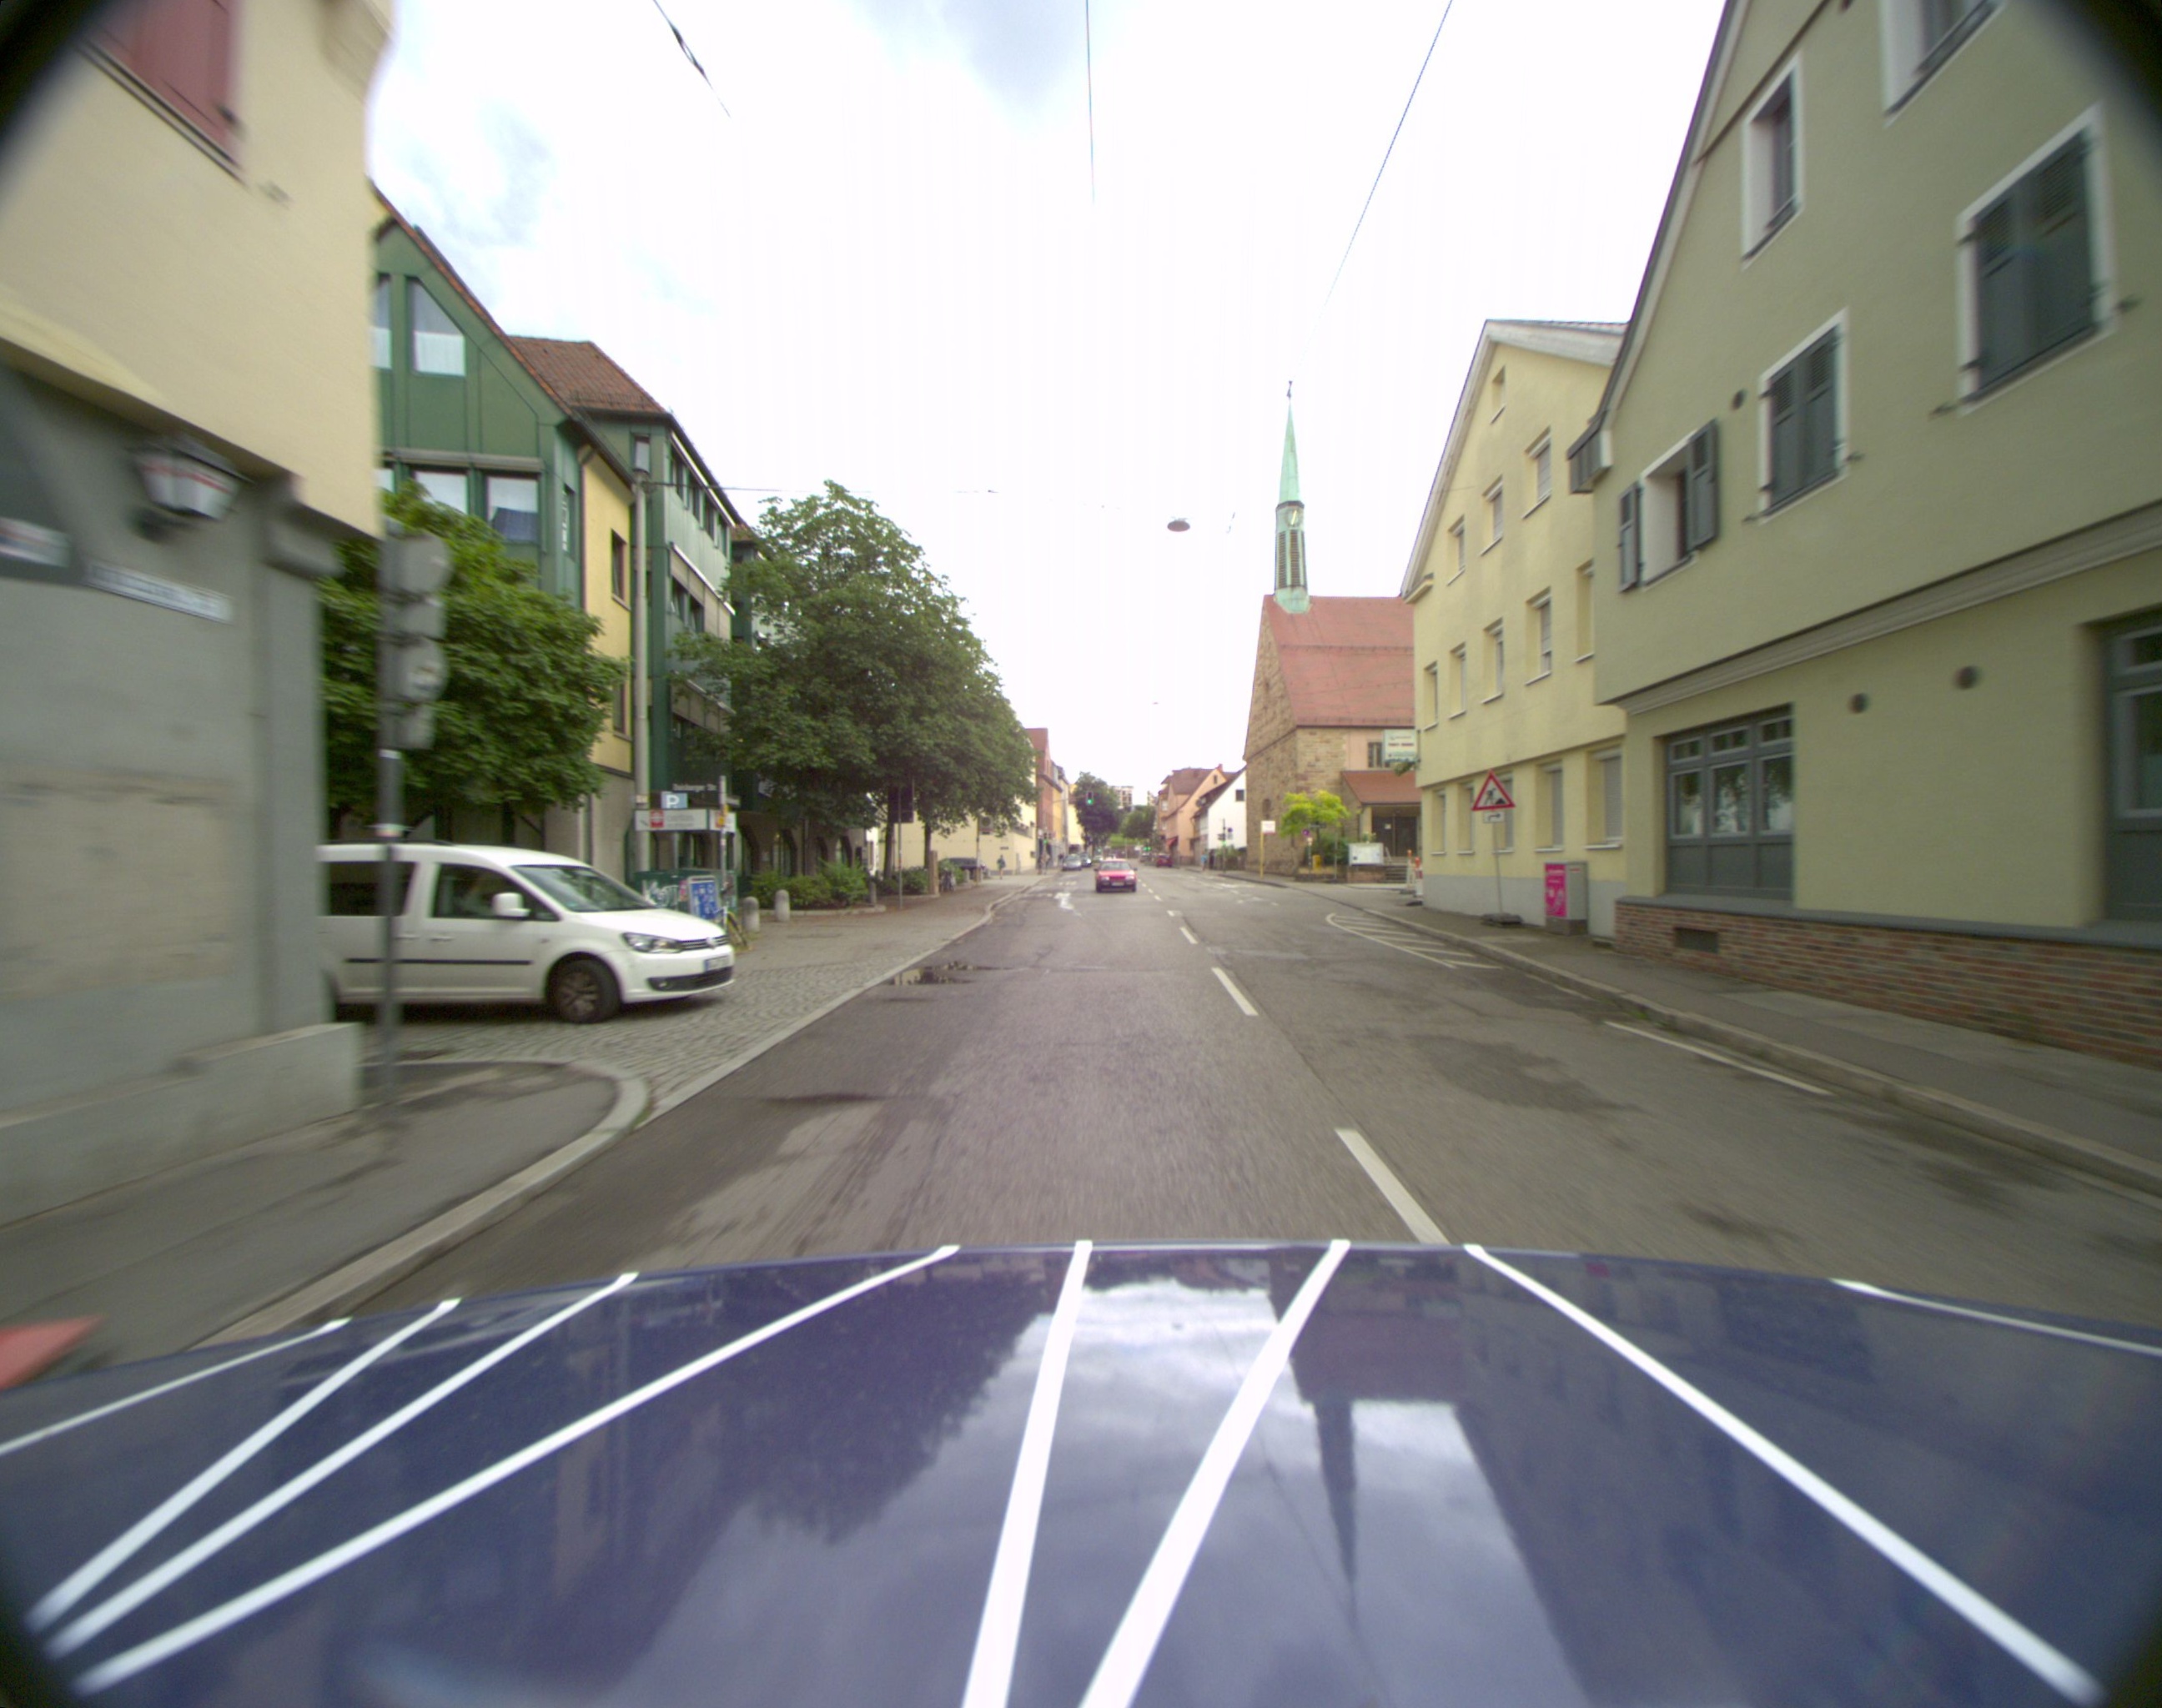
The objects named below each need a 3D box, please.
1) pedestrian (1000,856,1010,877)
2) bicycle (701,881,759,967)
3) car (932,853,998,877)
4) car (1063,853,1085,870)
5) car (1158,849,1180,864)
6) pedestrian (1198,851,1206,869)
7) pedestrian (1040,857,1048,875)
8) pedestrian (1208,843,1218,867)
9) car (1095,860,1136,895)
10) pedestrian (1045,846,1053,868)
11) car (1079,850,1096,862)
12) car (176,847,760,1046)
[{"bbox_3d":[-5.148,0.839,51.454,0.599,1.435,0.772,0,1,1],"label":"pedestrian"},{"bbox_3d":[-5.762,1.111,12.536,0.402,1.251,1.432,0,2,-6],"label":"bicycle"},{"bbox_3d":[-7.828,0.718,51.439,3.996,1.455,2.000,-2,1,4],"label":"car"},{"bbox_3d":[-0.640,0.700,73.622,2.033,1.546,4.000,0,0,1],"label":"car"},{"bbox_3d":[10.342,0.266,89.703,2.213,1.668,4.498,0,0,1],"label":"car"},{"bbox_3d":[10.605,0.537,66.785,0.637,1.597,0.712,0,1,2],"label":"pedestrian"},{"bbox_3d":[-2.855,0.916,58.408,0.599,1.435,0.772,0,1,-1],"label":"pedestrian"},{"bbox_3d":[11.535,0.054,66.529,0.758,2.109,0.783,0,1,2],"label":"pedestrian"},{"bbox_3d":[1.532,0.981,33.680,1.685,1.418,4.022,0,0,2],"label":"car"},{"bbox_3d":[-3.000,0.293,71.531,0.660,2.102,0.646,1,-1,-1],"label":"pedestrian"},{"bbox_3d":[0.787,0.243,88.953,1.822,1.380,4.000,0,0,1],"label":"car"},{"bbox_3d":[-6.047,0.845,7.960,4.463,1.777,2.000,-1,1,1],"label":"car"}]
